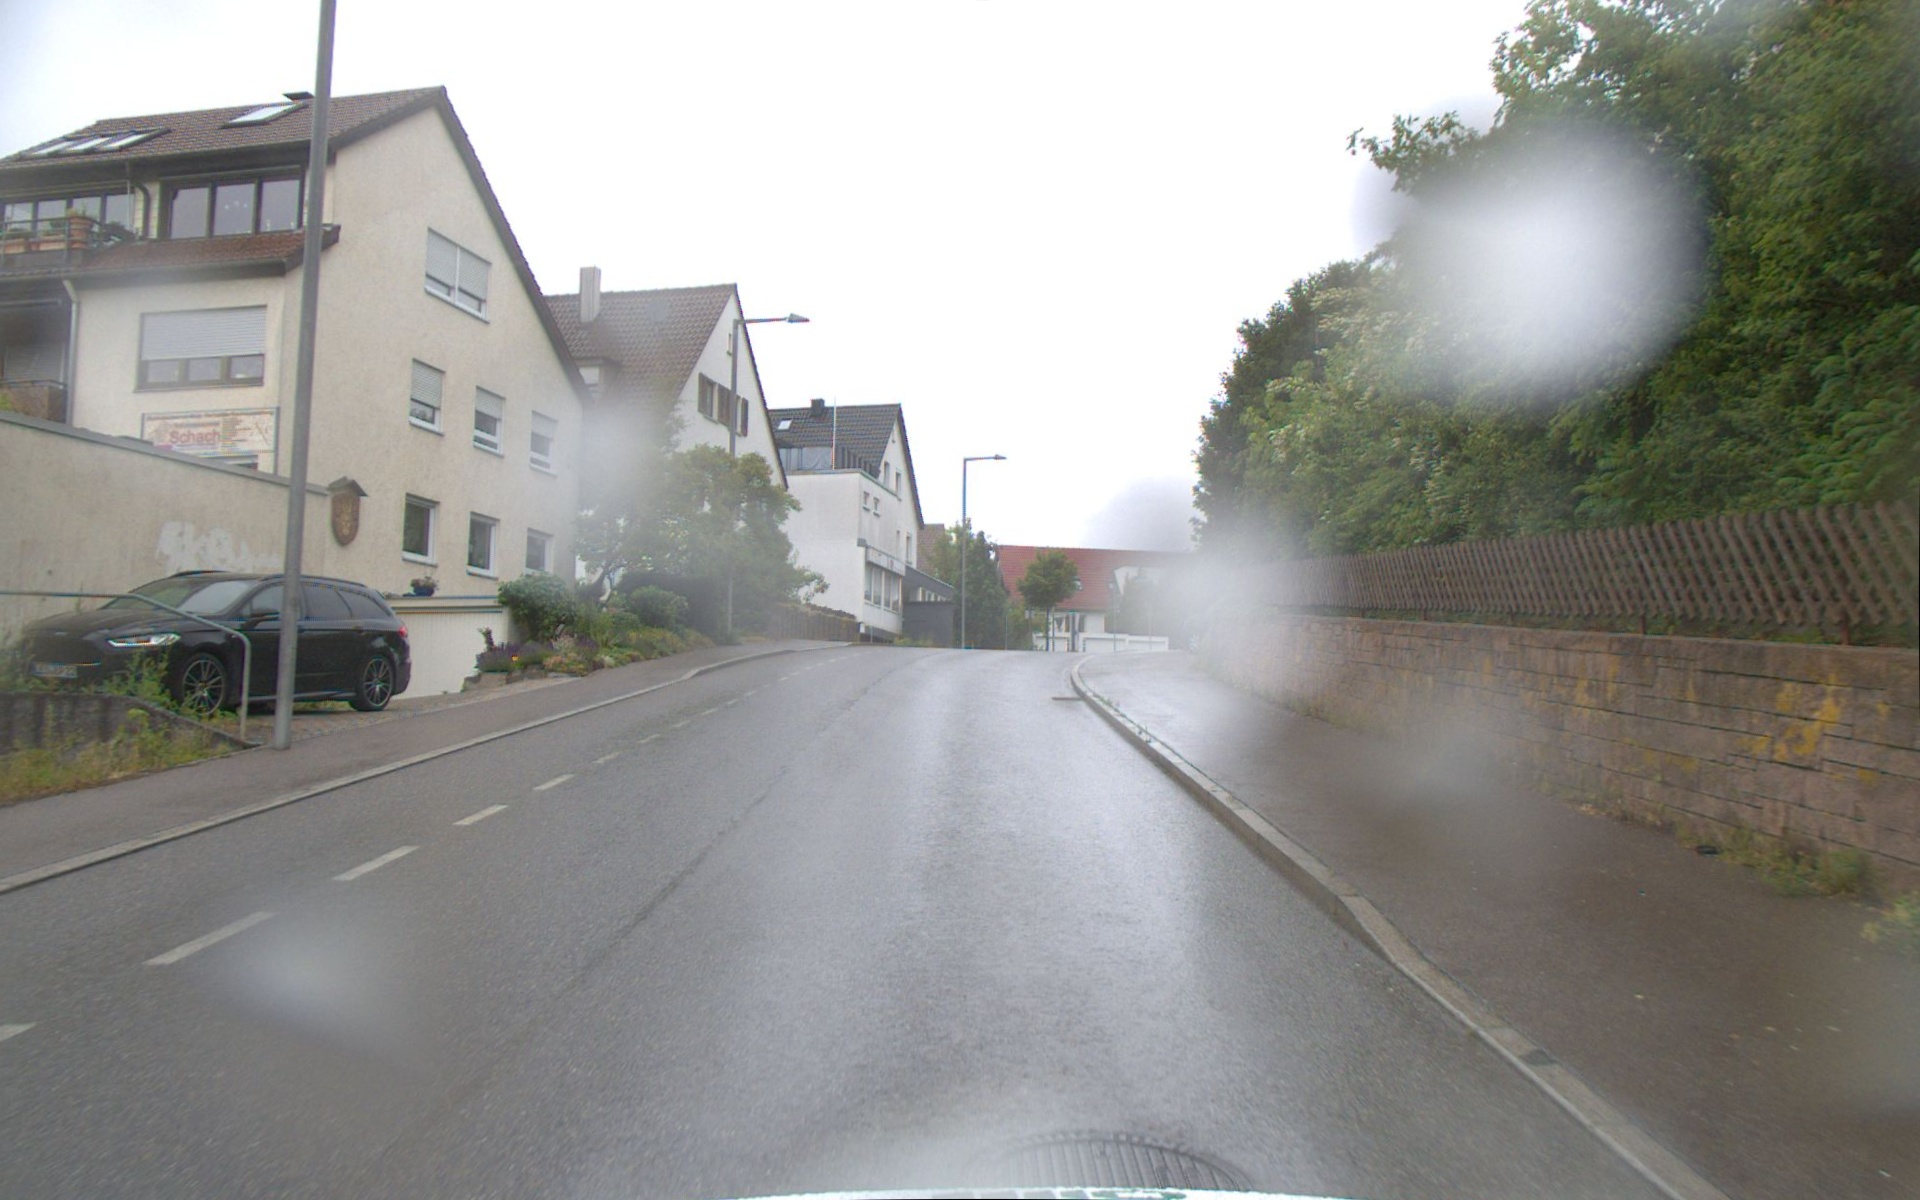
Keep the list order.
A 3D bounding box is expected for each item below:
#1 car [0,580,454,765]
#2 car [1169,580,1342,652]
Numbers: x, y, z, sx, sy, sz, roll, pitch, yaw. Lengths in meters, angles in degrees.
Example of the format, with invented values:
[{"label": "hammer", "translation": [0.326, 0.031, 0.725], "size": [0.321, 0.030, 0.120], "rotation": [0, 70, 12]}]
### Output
[{"label": "car", "translation": [-7.595, 0.663, 17.714], "size": [1.932, 1.688, 4.967], "rotation": [0, 0, 13]}, {"label": "car", "translation": [7.721, 0.454, 43.543], "size": [1.838, 1.634, 4.279], "rotation": [-5, 1, -38]}]
